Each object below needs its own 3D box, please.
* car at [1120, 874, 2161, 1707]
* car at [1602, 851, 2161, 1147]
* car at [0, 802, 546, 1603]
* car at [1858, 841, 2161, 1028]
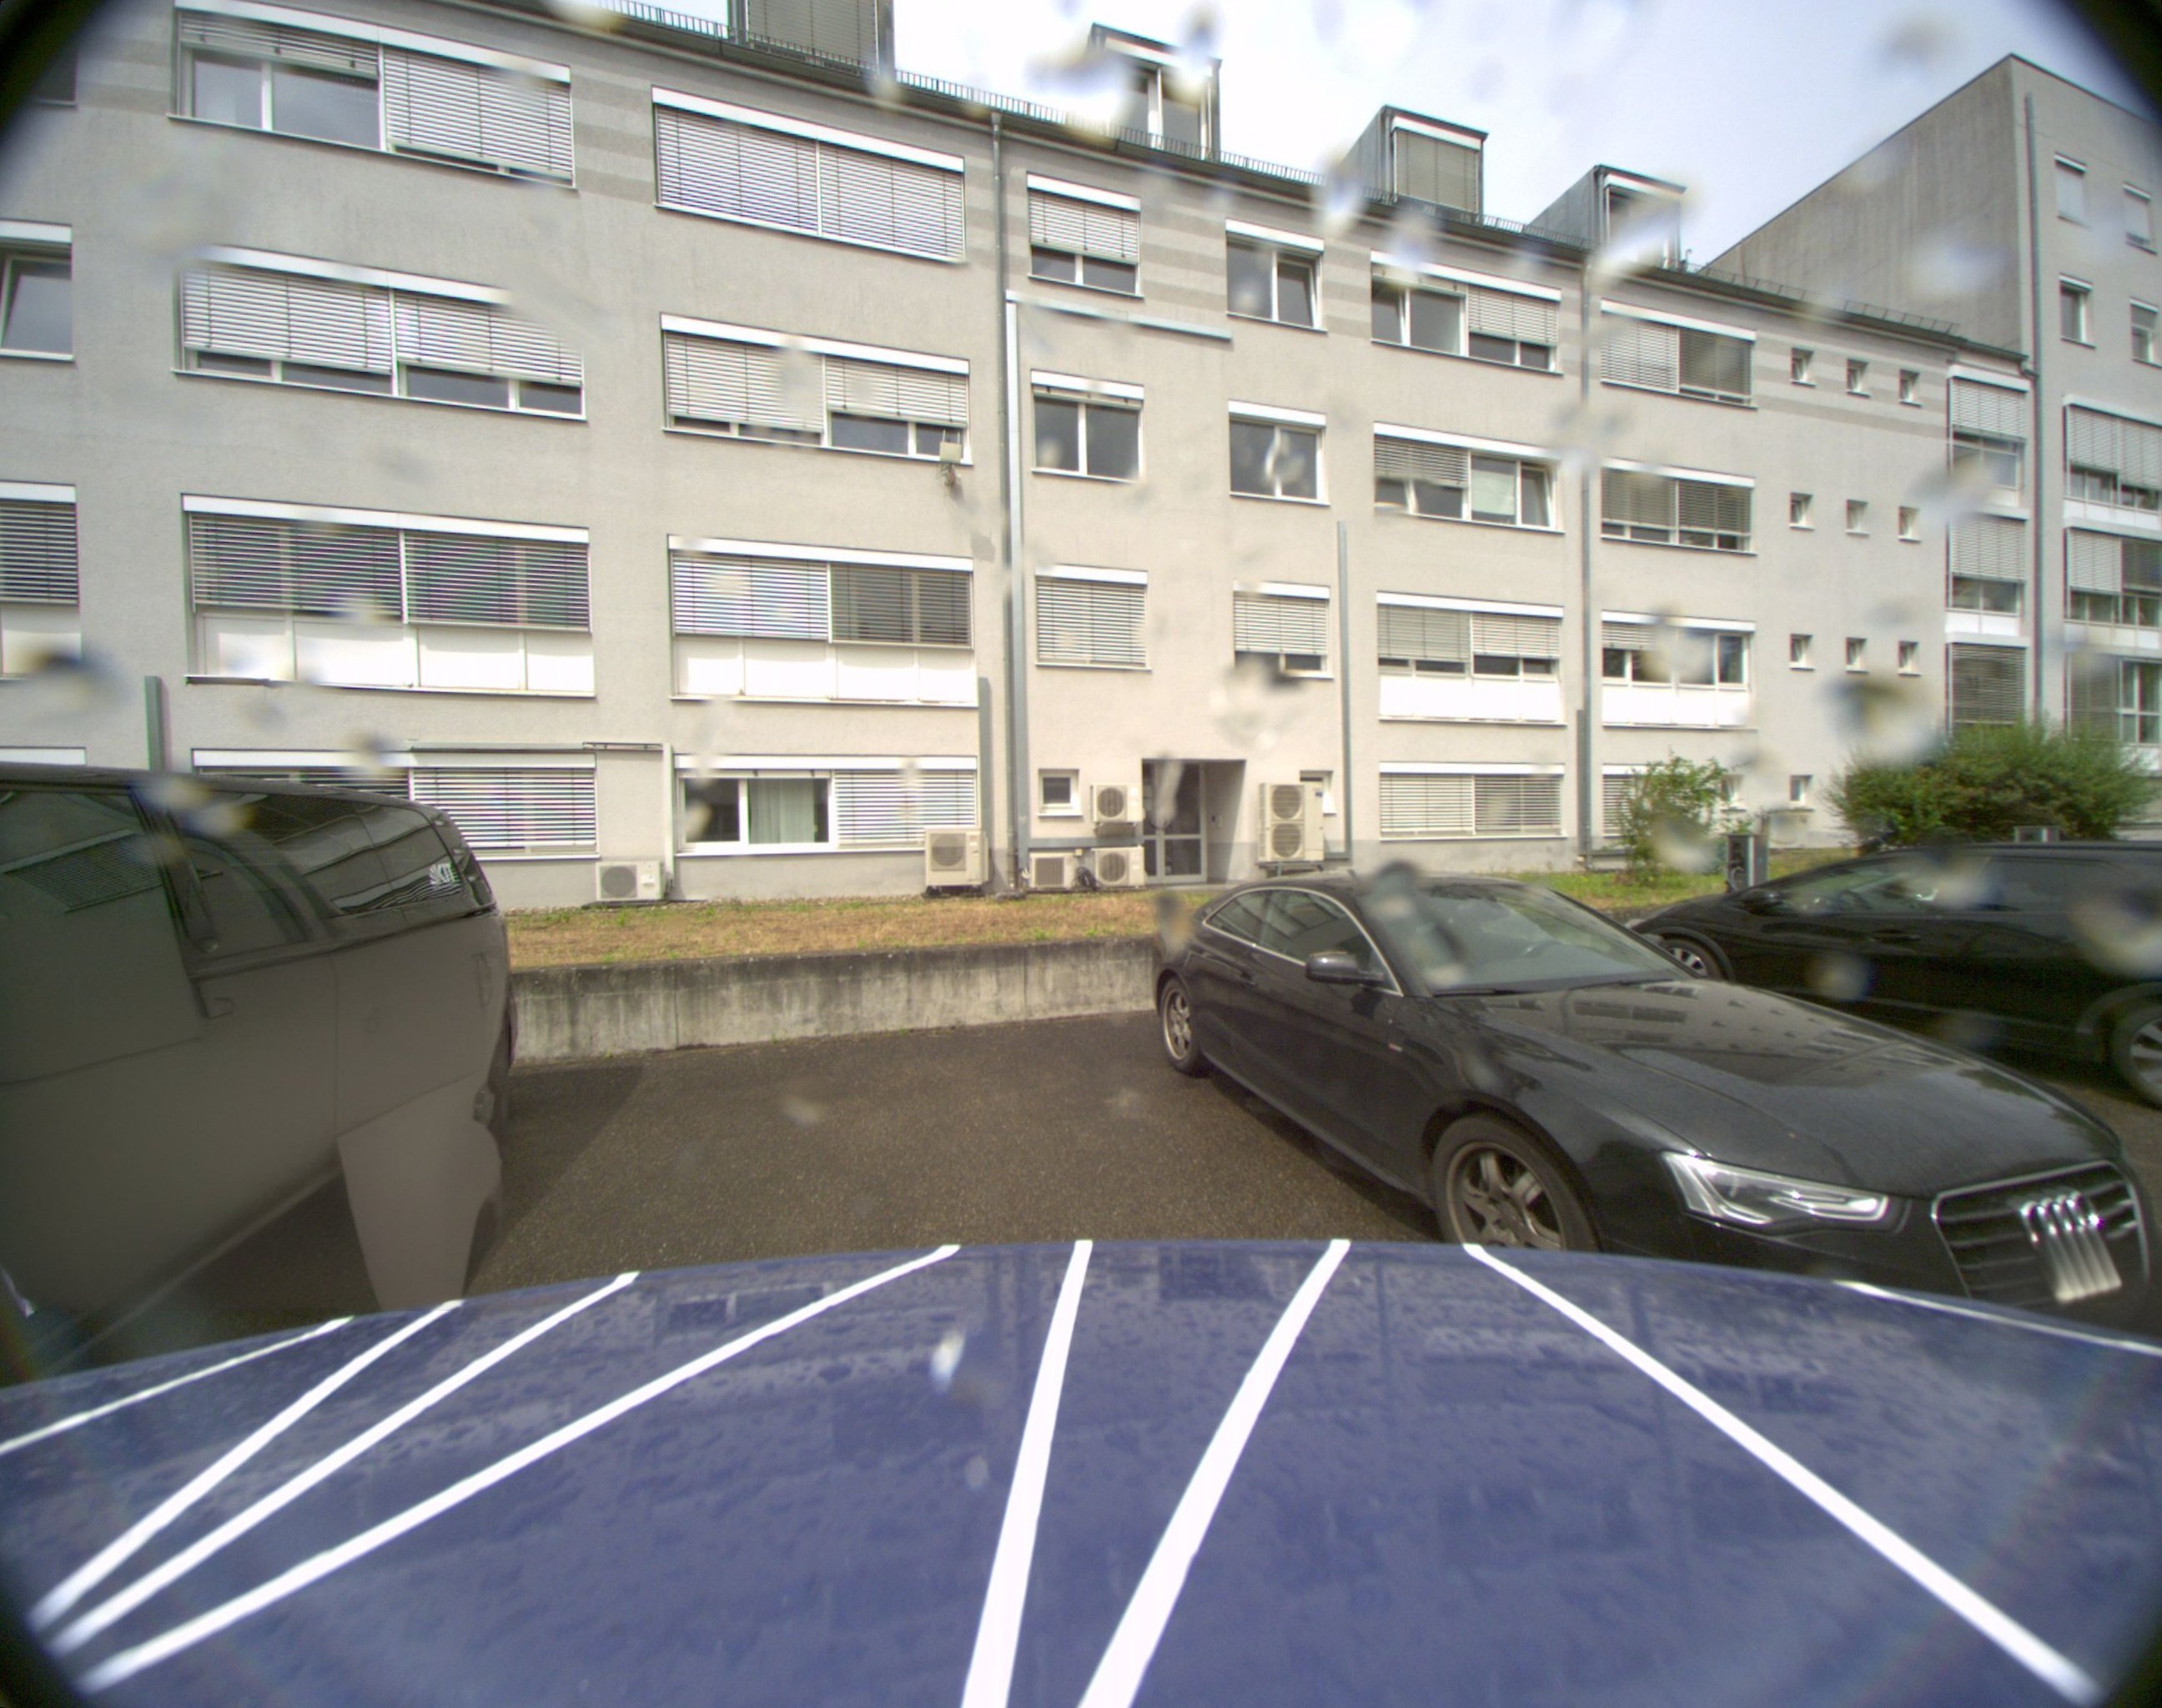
[{"bbox_3d":[1.746,0.917,3.832,1.764,1.344,4.522,-2,2,-15],"label":"car"},{"bbox_3d":[6.215,0.766,5.145,1.764,1.434,4.309,-2,2,-16],"label":"car"},{"bbox_3d":[-3.688,0.816,2.212,1.972,1.854,4.740,-2,2,-16],"label":"car"},{"bbox_3d":[9.484,0.654,6.175,1.697,1.434,4.119,-2,2,-14],"label":"car"}]
